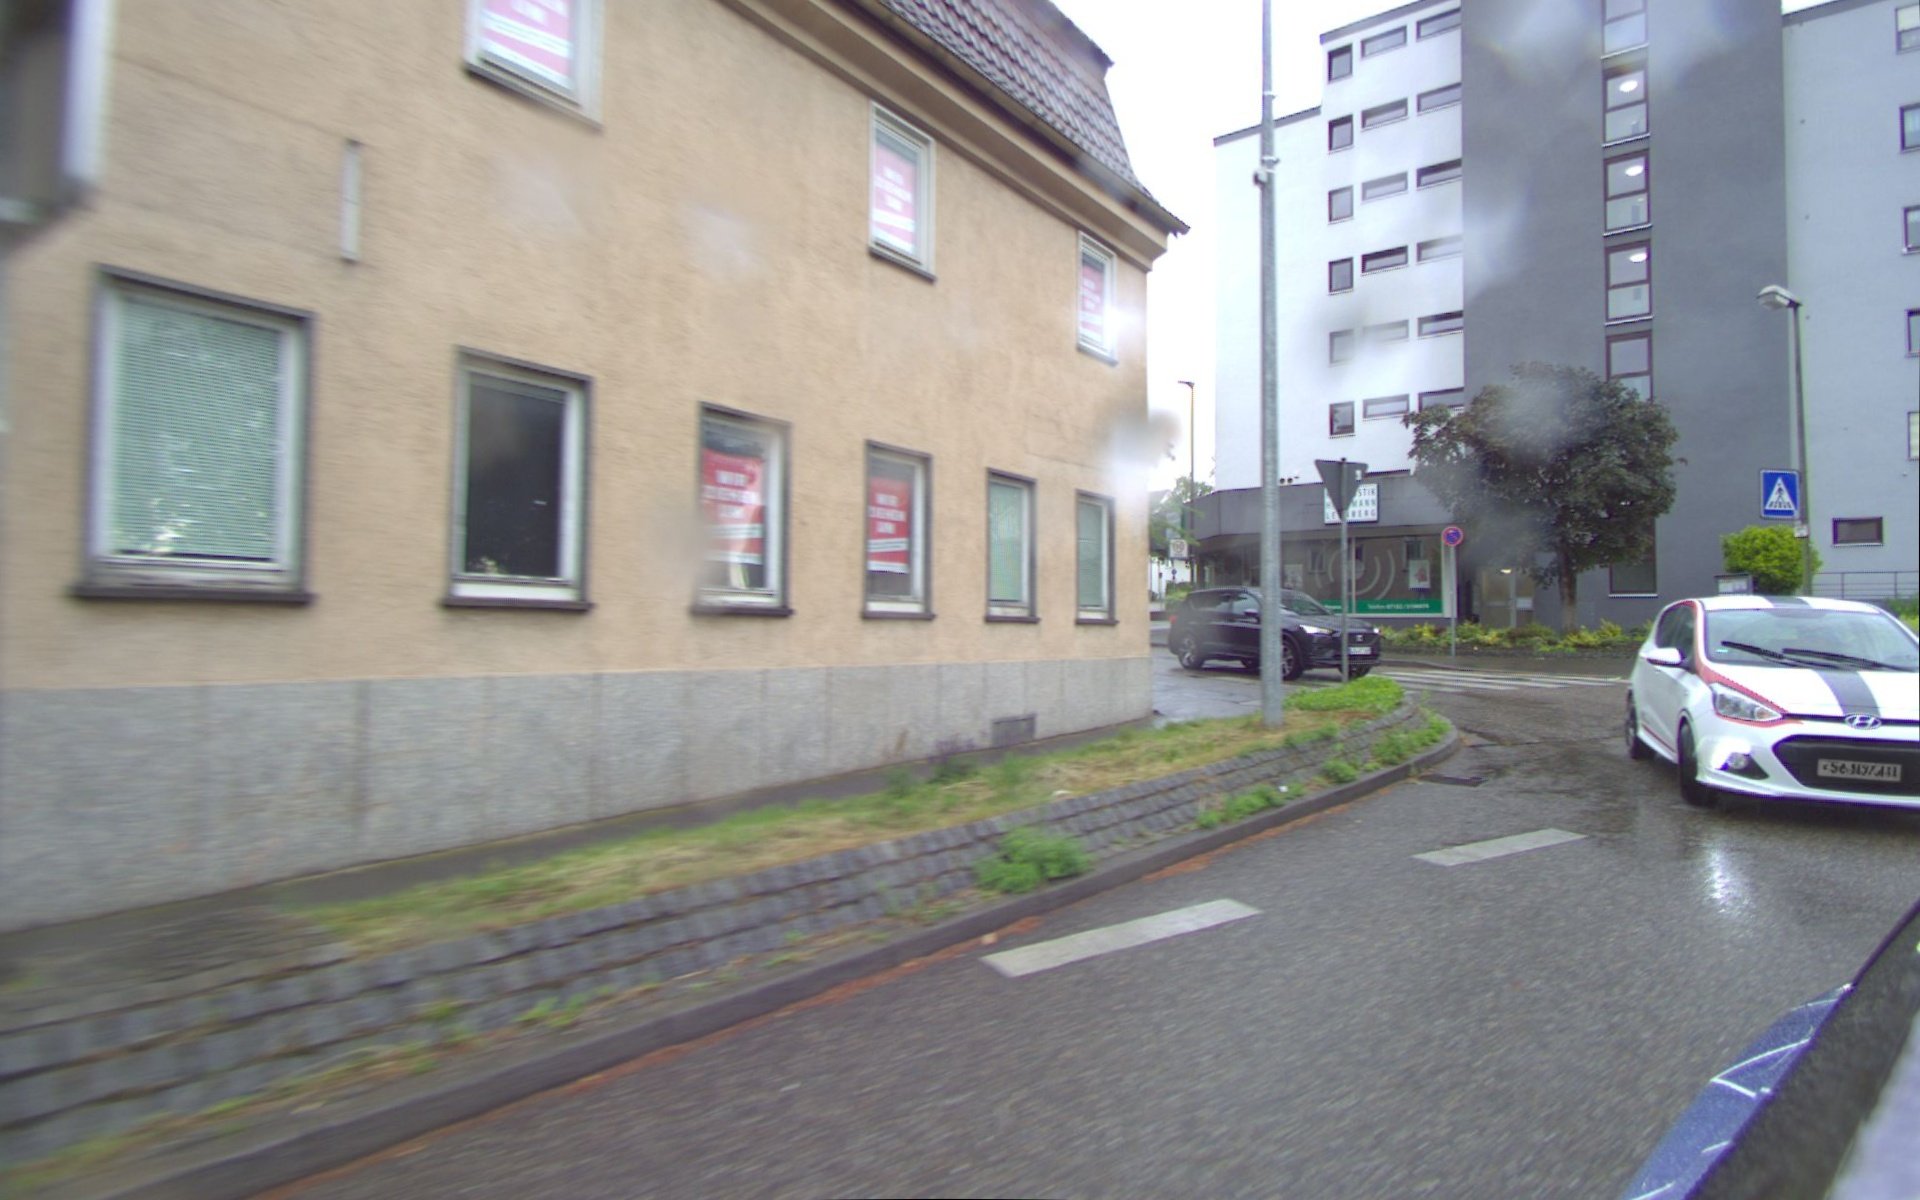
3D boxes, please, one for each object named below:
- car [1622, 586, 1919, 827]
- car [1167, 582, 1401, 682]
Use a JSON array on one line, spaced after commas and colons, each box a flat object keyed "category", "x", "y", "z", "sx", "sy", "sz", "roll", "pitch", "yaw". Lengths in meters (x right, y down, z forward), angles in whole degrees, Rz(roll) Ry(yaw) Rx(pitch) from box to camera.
[{"category": "car", "x": 6.472, "y": 0.651, "z": 7.946, "sx": 1.695, "sy": 1.471, "sz": 3.728, "roll": 0, "pitch": 0, "yaw": 27}, {"category": "car", "x": 5.926, "y": 0.485, "z": 19.102, "sx": 1.683, "sy": 1.592, "sz": 4.428, "roll": -1, "pitch": 2, "yaw": -24}]
